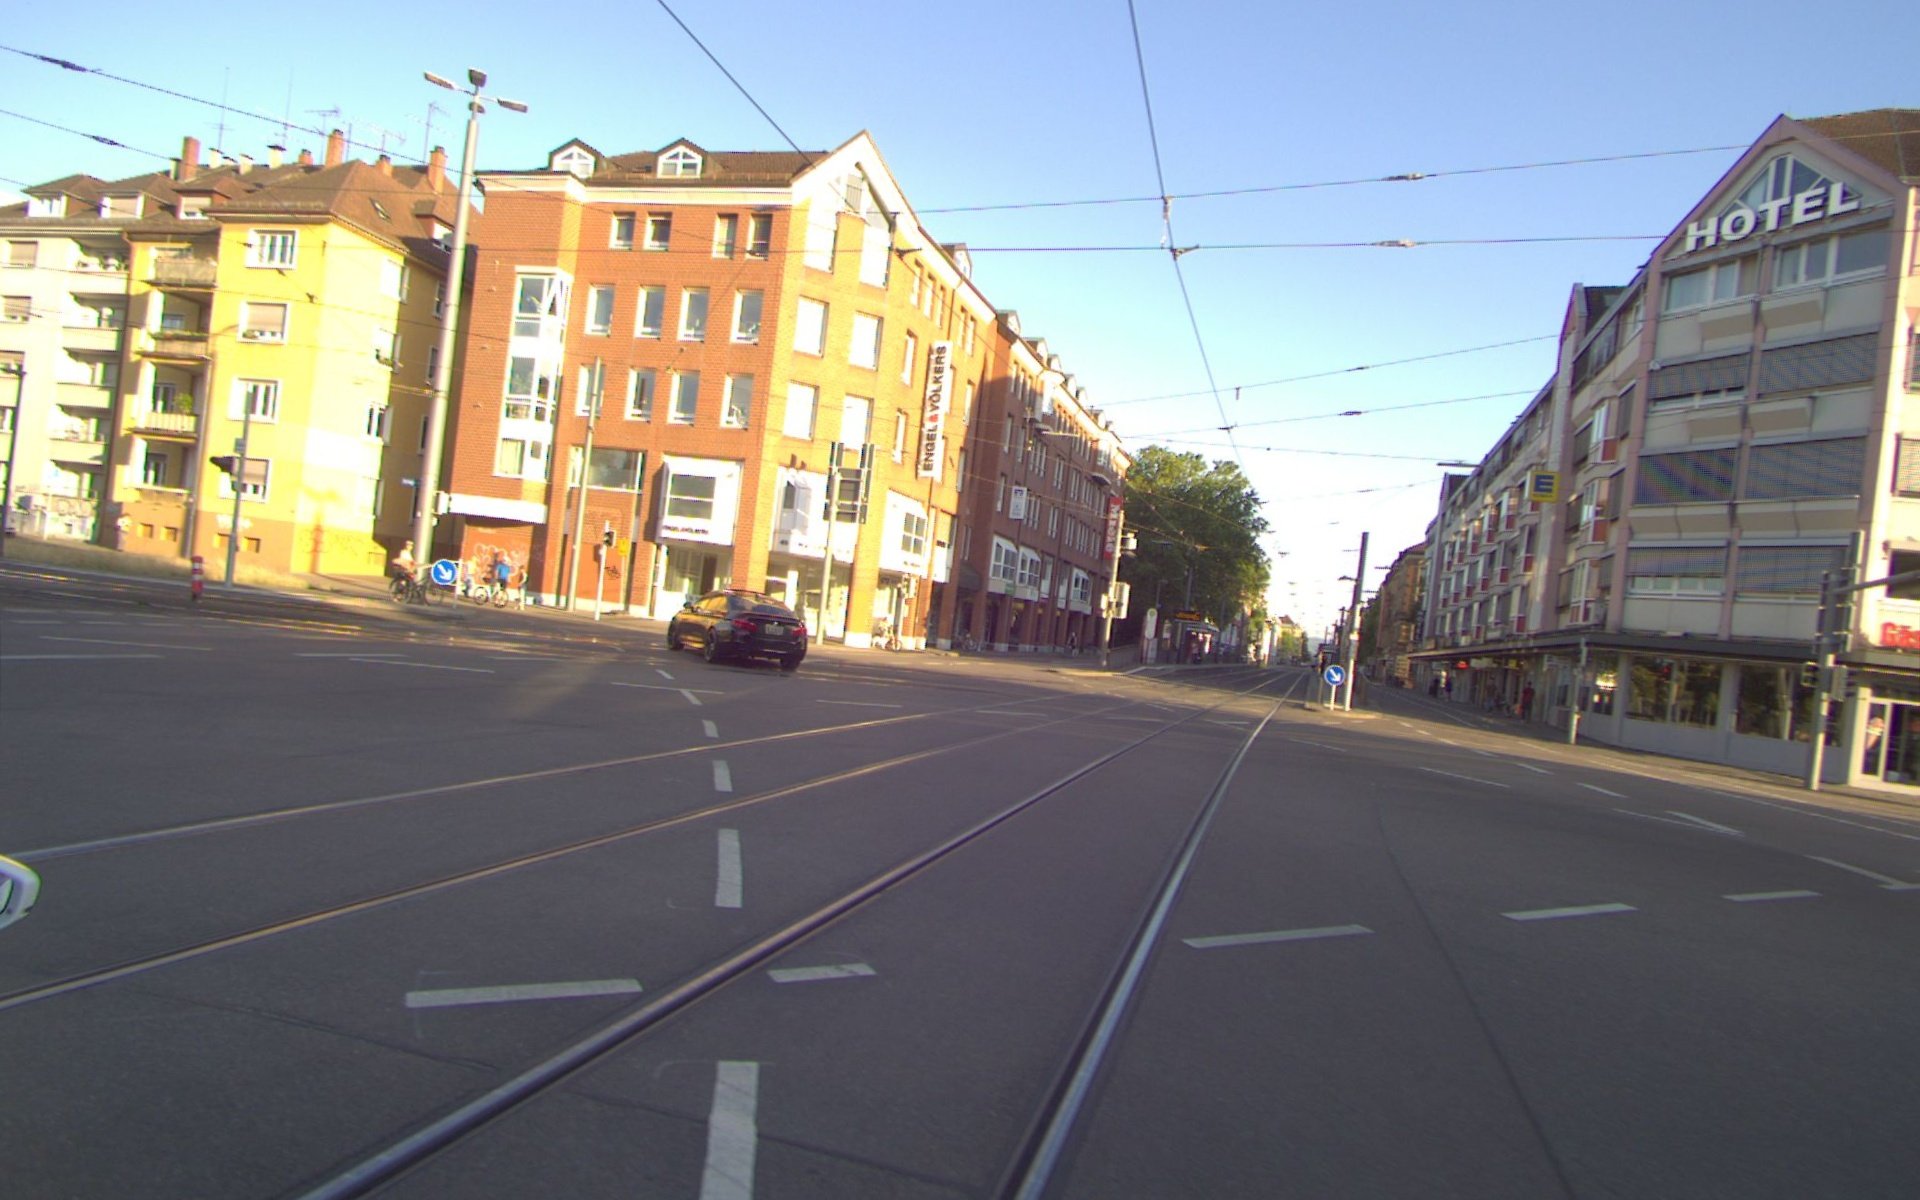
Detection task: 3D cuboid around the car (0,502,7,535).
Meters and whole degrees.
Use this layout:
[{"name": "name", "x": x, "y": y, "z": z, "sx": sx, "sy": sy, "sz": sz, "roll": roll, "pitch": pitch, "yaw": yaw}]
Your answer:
[{"name": "car", "x": -44.707, "y": -3.857, "z": 44.729, "sx": 3.475, "sy": 1.437, "sz": 1.741, "roll": 5, "pitch": -1, "yaw": 14}]

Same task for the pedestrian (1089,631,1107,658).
[{"name": "pedestrian", "x": 11.102, "y": 3.588, "z": 80.868, "sx": 1.068, "sy": 2.038, "sz": 1.085, "roll": 7, "pitch": 0, "yaw": 15}]

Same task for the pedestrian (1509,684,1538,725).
[{"name": "pedestrian", "x": 24.412, "y": 4.514, "z": 43.611, "sx": 0.694, "sy": 1.570, "sz": 0.906, "roll": 8, "pitch": 4, "yaw": 17}]

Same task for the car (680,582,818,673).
[{"name": "car", "x": -4.562, "y": 0.512, "z": 21.240, "sx": 1.823, "sy": 1.513, "sz": 4.267, "roll": 6, "pitch": -1, "yaw": -25}]

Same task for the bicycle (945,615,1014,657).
[{"name": "bicycle", "x": 1.020, "y": 1.859, "z": 52.311, "sx": 3.246, "sy": 1.747, "sz": 1.069, "roll": 7, "pitch": 0, "yaw": 18}]

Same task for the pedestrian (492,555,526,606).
[{"name": "pedestrian", "x": -16.776, "y": -0.710, "z": 37.445, "sx": 0.627, "sy": 1.800, "sz": 0.816, "roll": 7, "pitch": 0, "yaw": 9}]

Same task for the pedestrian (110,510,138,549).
[{"name": "pedestrian", "x": -36.630, "y": -3.089, "z": 44.079, "sx": 0.724, "sy": 1.618, "sz": 0.708, "roll": 7, "pitch": 0, "yaw": 40}]

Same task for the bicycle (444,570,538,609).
[{"name": "bicycle", "x": -17.059, "y": -0.395, "z": 36.591, "sx": 3.005, "sy": 1.029, "sz": 0.932, "roll": 7, "pitch": 0, "yaw": 10}]

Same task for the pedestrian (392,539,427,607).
[{"name": "pedestrian", "x": -14.738, "y": -0.720, "z": 26.937, "sx": 0.506, "sy": 1.729, "sz": 0.419, "roll": 7, "pitch": 0, "yaw": 17}]

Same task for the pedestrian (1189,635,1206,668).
[{"name": "pedestrian", "x": 15.340, "y": 3.302, "z": 64.984, "sx": 0.795, "sy": 2.038, "sz": 0.678, "roll": 7, "pitch": 0, "yaw": 16}]

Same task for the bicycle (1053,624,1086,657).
[{"name": "bicycle", "x": 7.421, "y": 2.755, "z": 67.892, "sx": 1.275, "sy": 2.038, "sz": 3.950, "roll": 7, "pitch": -1, "yaw": 18}]

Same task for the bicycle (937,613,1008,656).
[{"name": "bicycle", "x": 0.641, "y": 1.764, "z": 51.207, "sx": 3.246, "sy": 1.747, "sz": 1.069, "roll": 7, "pitch": 0, "yaw": 19}]

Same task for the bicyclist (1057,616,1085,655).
[{"name": "bicyclist", "x": 7.508, "y": 2.429, "z": 68.019, "sx": 1.270, "sy": 2.499, "sz": 1.668, "roll": 7, "pitch": 0, "yaw": 18}]

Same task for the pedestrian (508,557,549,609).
[{"name": "pedestrian", "x": -16.022, "y": -0.619, "z": 37.367, "sx": 0.856, "sy": 1.800, "sz": 0.918, "roll": 7, "pitch": 0, "yaw": 9}]
